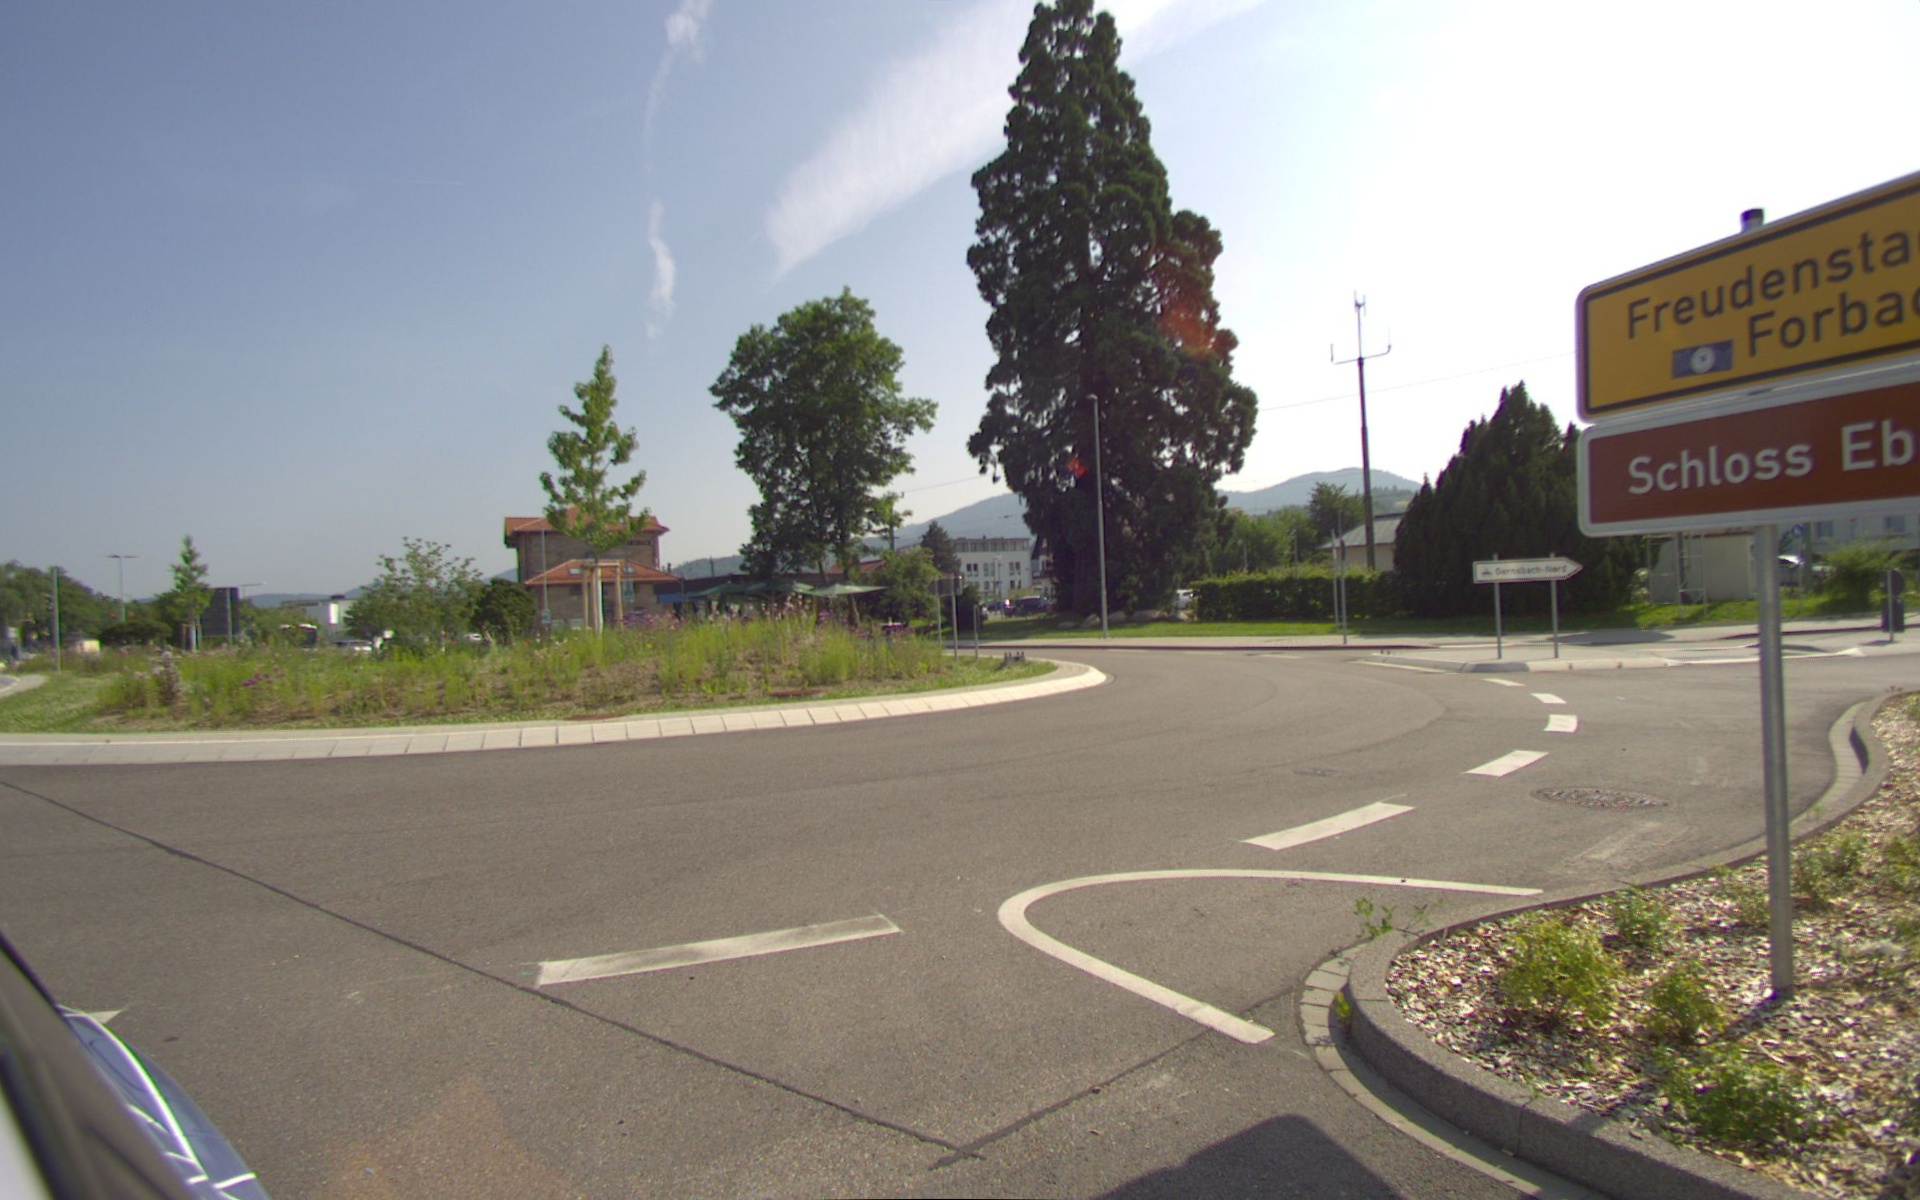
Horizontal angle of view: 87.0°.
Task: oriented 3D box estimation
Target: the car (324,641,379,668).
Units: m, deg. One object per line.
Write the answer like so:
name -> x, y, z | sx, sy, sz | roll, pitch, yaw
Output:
car -> -37.444, 3.366, 62.265 | 3.996, 1.543, 1.653 | -3, -2, 40

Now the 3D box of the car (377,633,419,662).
car -> -44.916, 3.744, 80.980 | 1.945, 1.979, 5.173 | -5, 1, -19

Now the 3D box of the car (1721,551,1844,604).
car -> 35.683, -0.966, 43.980 | 3.998, 1.929, 1.869 | -4, 1, 41

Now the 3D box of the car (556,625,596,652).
car -> -25.282, 2.497, 66.547 | 1.652, 1.580, 3.661 | -5, 2, -32

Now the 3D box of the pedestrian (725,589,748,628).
pedestrian -> -12.133, 0.442, 54.904 | 0.706, 2.028, 0.850 | -4, 1, 29

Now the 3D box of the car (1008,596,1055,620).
car -> 6.617, 0.696, 93.754 | 3.939, 1.863, 1.787 | -5, 1, -6

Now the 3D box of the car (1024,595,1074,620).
car -> 7.855, 0.654, 89.257 | 3.939, 1.863, 1.787 | -5, 1, -6

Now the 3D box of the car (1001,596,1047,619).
car -> 6.094, 0.707, 96.125 | 3.939, 1.863, 1.787 | -5, 1, -6

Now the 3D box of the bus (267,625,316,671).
bus -> -55.646, 3.997, 84.138 | 2.547, 3.353, 10.611 | -5, 1, -37
